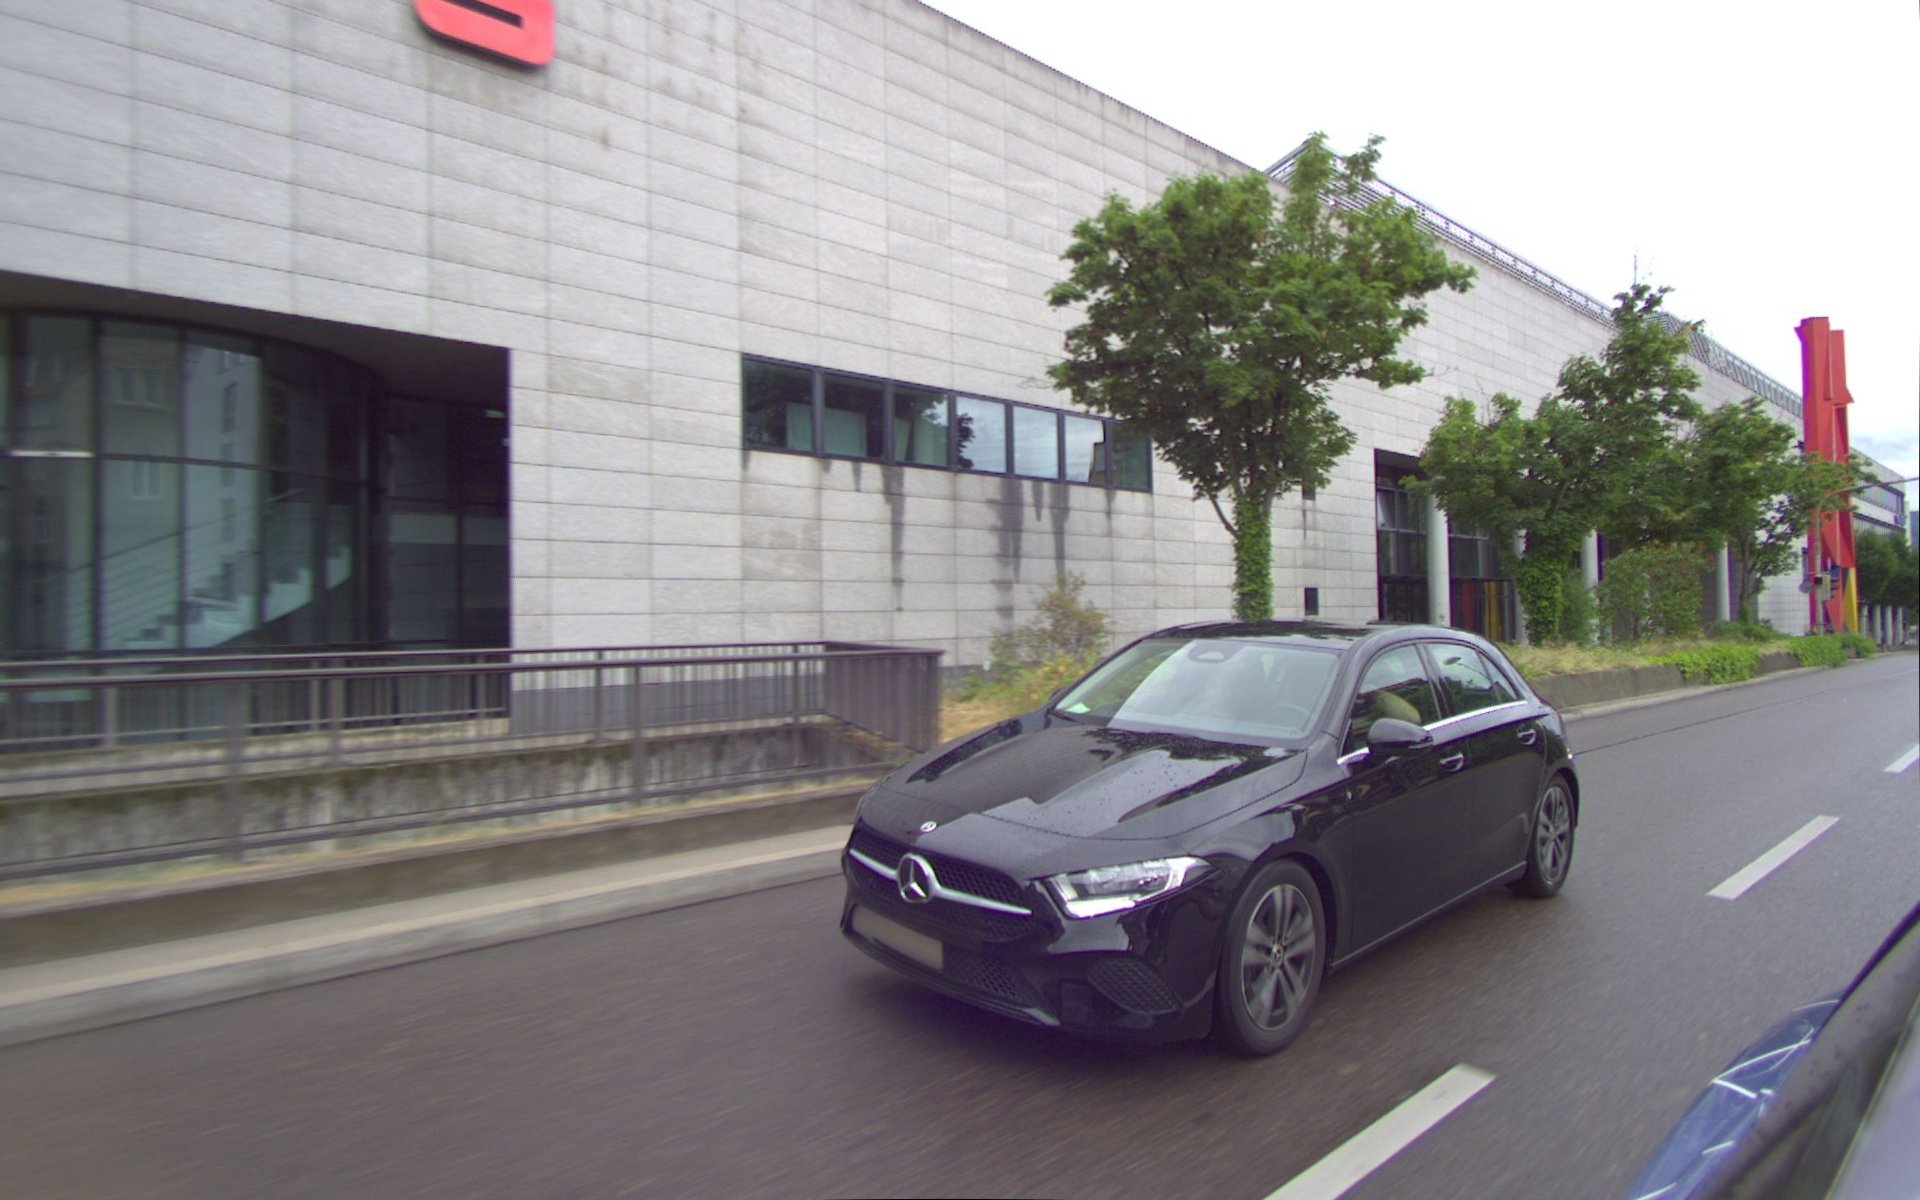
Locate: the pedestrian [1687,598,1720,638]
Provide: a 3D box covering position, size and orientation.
[{"bbox_3d":[30.228,0.712,41.132,0.828,1.607,0.970,2,-2,-44],"label":"pedestrian"}]

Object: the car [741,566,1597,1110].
[{"bbox_3d":[1.277,0.713,4.809,4.131,1.455,1.875,3,-2,-41],"label":"car"}]
